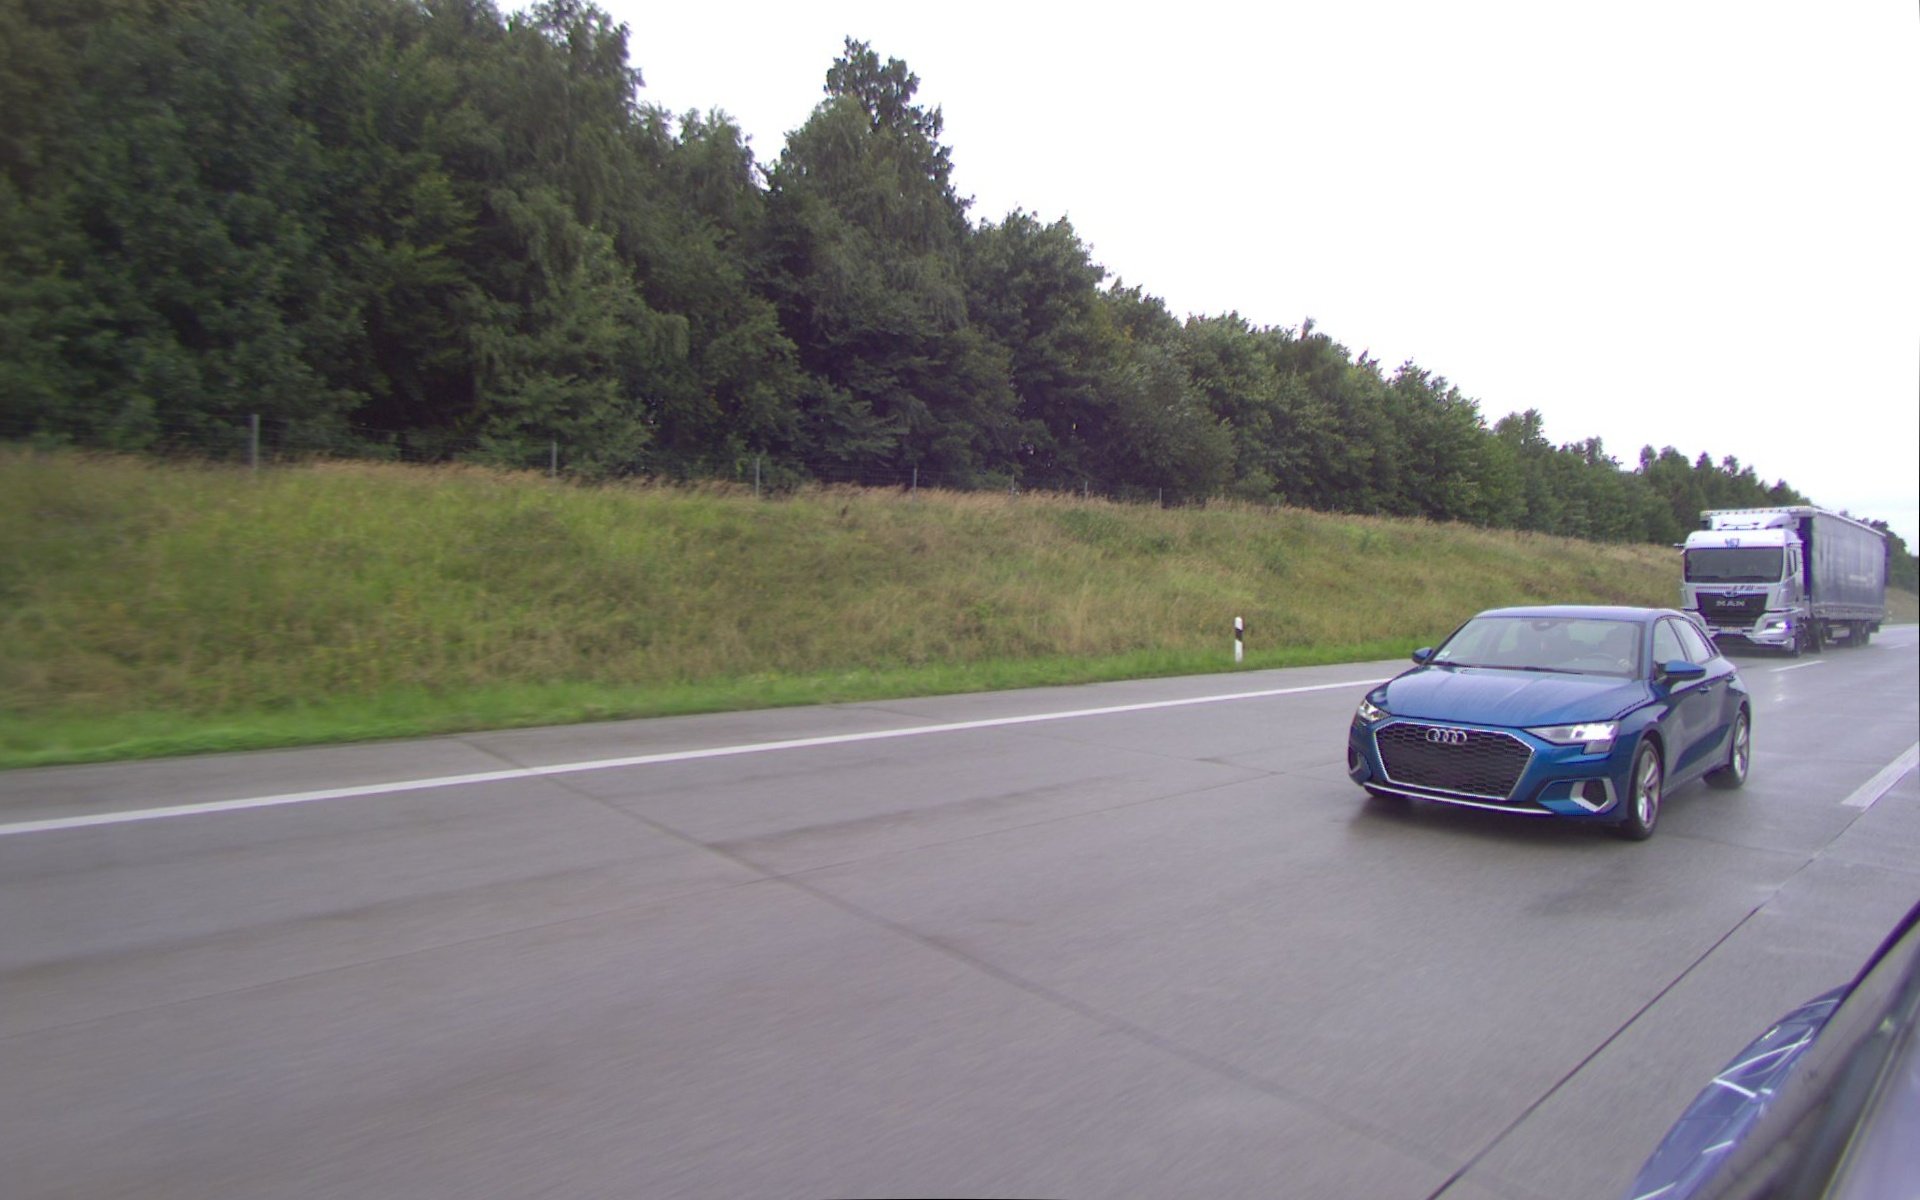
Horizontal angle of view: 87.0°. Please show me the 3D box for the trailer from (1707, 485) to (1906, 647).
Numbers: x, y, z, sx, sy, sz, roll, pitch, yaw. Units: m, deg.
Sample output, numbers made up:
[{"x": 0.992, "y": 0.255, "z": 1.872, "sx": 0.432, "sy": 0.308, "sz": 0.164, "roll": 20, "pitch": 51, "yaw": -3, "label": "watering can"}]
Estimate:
[{"x": 28.552, "y": -0.881, "z": 33.670, "sx": 14.937, "sy": 4.435, "sz": 2.711, "roll": 1, "pitch": -1, "yaw": -41, "label": "trailer"}]

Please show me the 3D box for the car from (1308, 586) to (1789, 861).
[{"x": 4.657, "y": 0.647, "z": 7.667, "sx": 4.590, "sy": 1.477, "sz": 1.733, "roll": 0, "pitch": 1, "yaw": -41, "label": "car"}]

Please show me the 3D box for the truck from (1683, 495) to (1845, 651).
[{"x": 22.910, "y": -0.678, "z": 28.762, "sx": 5.586, "sy": 4.004, "sz": 2.640, "roll": 1, "pitch": -1, "yaw": -41, "label": "truck"}]
